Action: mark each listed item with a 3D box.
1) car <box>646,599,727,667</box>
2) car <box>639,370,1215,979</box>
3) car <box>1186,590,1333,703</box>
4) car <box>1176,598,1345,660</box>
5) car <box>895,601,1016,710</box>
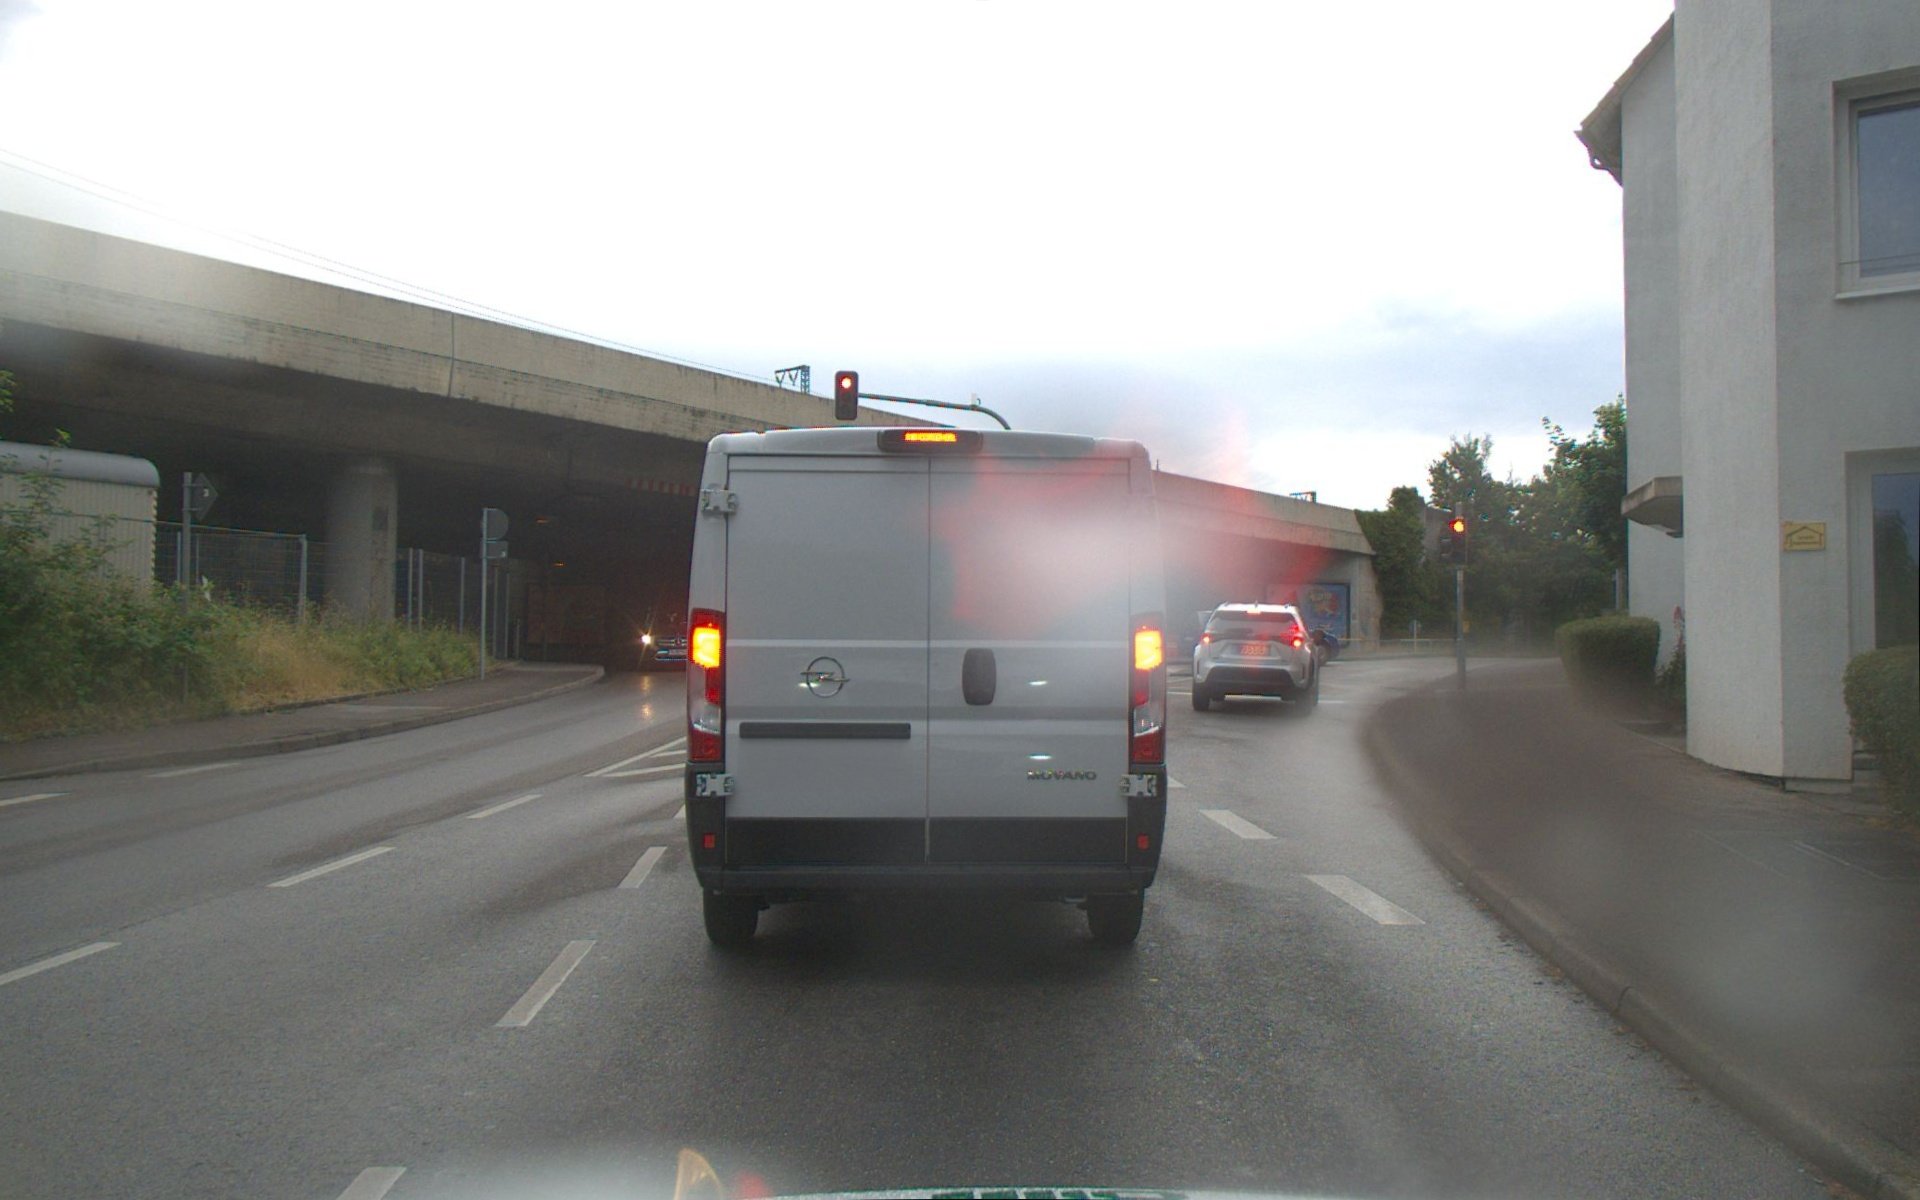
[{"bbox_3d":[-6.917,0.810,42.184,1.878,1.655,4.426,0,0,-8],"label":"car"},{"bbox_3d":[-0.167,0.270,9.160,2.258,2.384,5.281,0,0,-1],"label":"car"},{"bbox_3d":[4.669,0.704,25.338,1.951,1.576,4.002,0,-2,14],"label":"car"},{"bbox_3d":[7.810,0.783,43.050,3.931,1.545,1.986,1,-2,-22],"label":"car"},{"bbox_3d":[-0.002,0.955,28.802,1.952,1.759,4.000,0,-2,2],"label":"car"}]
